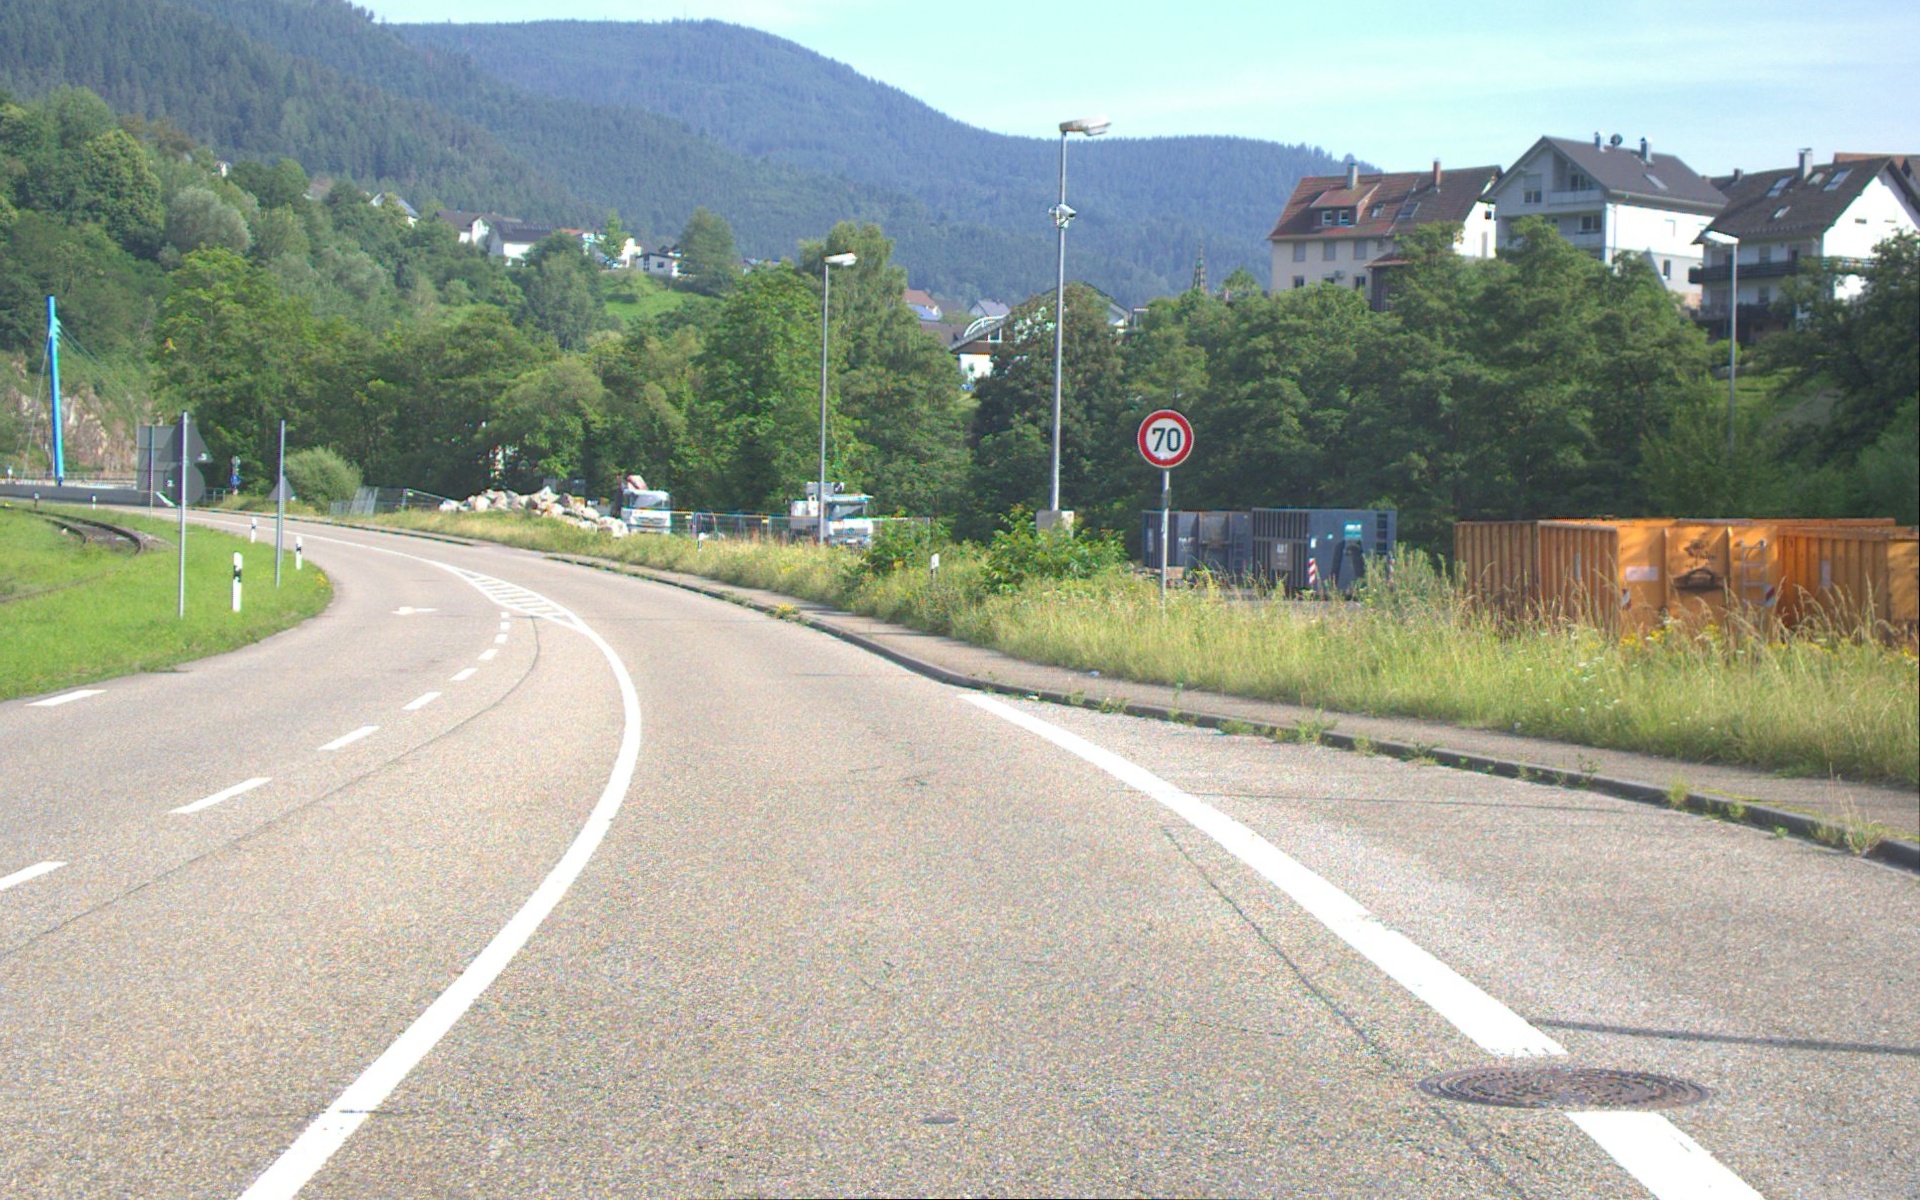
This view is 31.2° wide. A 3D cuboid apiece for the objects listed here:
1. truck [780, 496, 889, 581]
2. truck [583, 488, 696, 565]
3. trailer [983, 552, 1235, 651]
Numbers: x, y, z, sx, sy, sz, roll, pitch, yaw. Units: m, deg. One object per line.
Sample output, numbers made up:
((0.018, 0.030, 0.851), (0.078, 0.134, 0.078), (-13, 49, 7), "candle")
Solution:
((-6.042, -2.981, 163.589), (3.102, 3.769, 8.648), (3, 1, -15), "truck")
((-16.821, -3.887, 179.719), (3.102, 3.769, 8.647), (2, 1, -24), "truck")
((2.707, -0.037, 66.358), (2.791, 1.469, 9.890), (4, 1, -9), "trailer")
